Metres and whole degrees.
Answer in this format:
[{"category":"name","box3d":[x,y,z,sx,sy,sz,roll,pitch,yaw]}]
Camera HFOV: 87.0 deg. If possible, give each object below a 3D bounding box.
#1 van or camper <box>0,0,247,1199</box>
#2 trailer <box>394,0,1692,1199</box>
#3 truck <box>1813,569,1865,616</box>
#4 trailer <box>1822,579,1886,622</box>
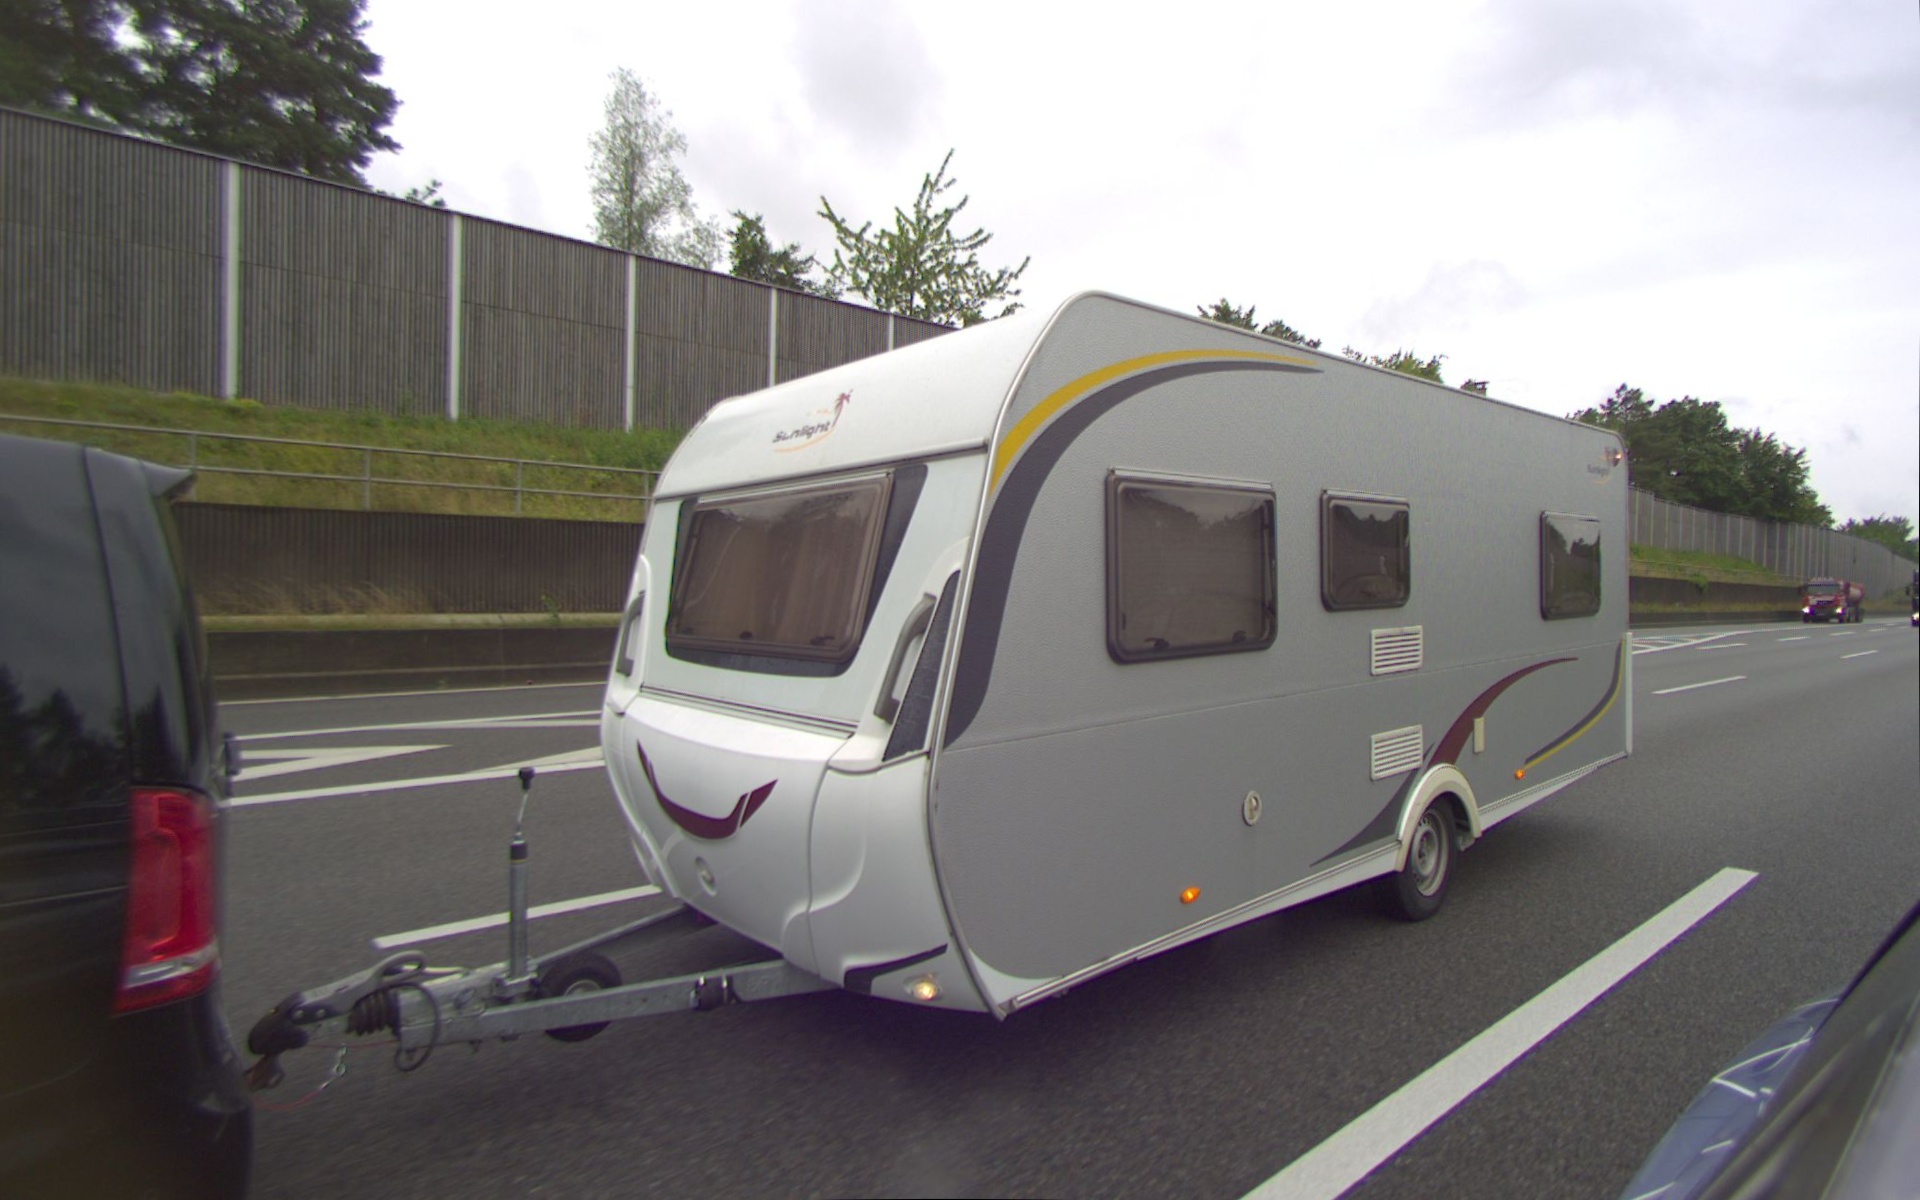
[{"category":"van or camper","box3d":[-3.930,0.241,0.614,5.580,2.298,1.894,-1,0,-41]},{"category":"trailer","box3d":[1.347,0.048,5.530,7.380,2.676,2.725,0,0,-41]},{"category":"truck","box3d":[67.076,-0.583,77.181,3.930,3.508,2.419,0,1,-41]},{"category":"trailer","box3d":[71.445,0.020,80.836,9.234,3.288,2.451,0,1,-40]}]
